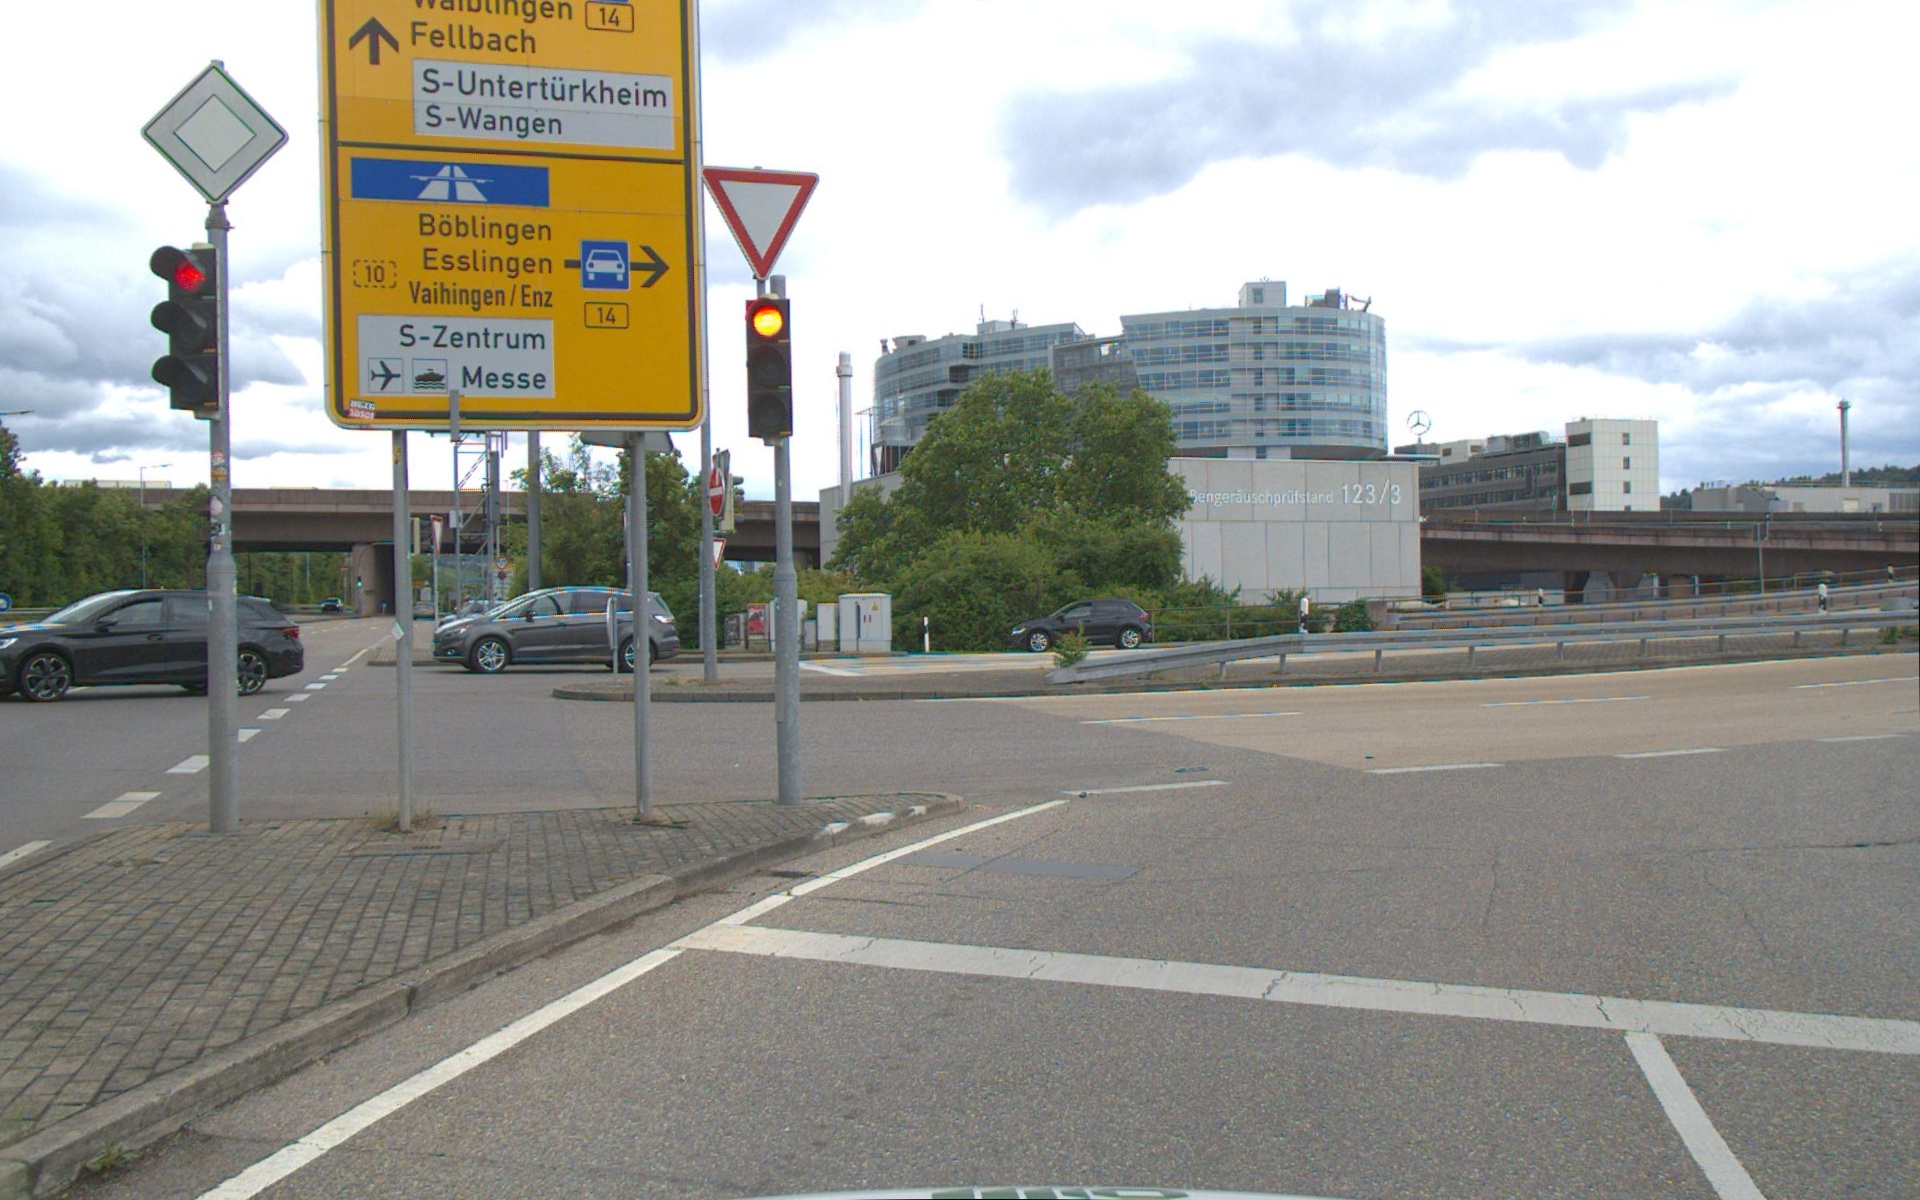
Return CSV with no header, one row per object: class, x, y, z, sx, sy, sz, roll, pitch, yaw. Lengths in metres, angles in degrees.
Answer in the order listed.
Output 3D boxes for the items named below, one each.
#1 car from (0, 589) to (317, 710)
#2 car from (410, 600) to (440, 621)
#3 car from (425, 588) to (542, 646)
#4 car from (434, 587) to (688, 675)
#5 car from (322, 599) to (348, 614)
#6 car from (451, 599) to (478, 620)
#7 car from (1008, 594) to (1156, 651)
car,-11.621,0.621,23.089,1.921,1.482,4.593,1,1,41
car,-40.473,0.836,125.179,1.961,1.467,4.091,1,-2,-16
car,-16.199,0.550,56.116,1.899,1.691,4.675,3,0,-42
car,-7.823,0.557,32.431,4.616,1.599,1.942,0,1,-24
car,-66.573,0.659,176.228,1.829,1.407,3.859,3,1,-11
car,-38.476,0.751,128.436,1.962,1.490,4.090,1,-2,-17
car,3.358,0.609,46.169,3.901,1.446,1.914,-2,0,-3
